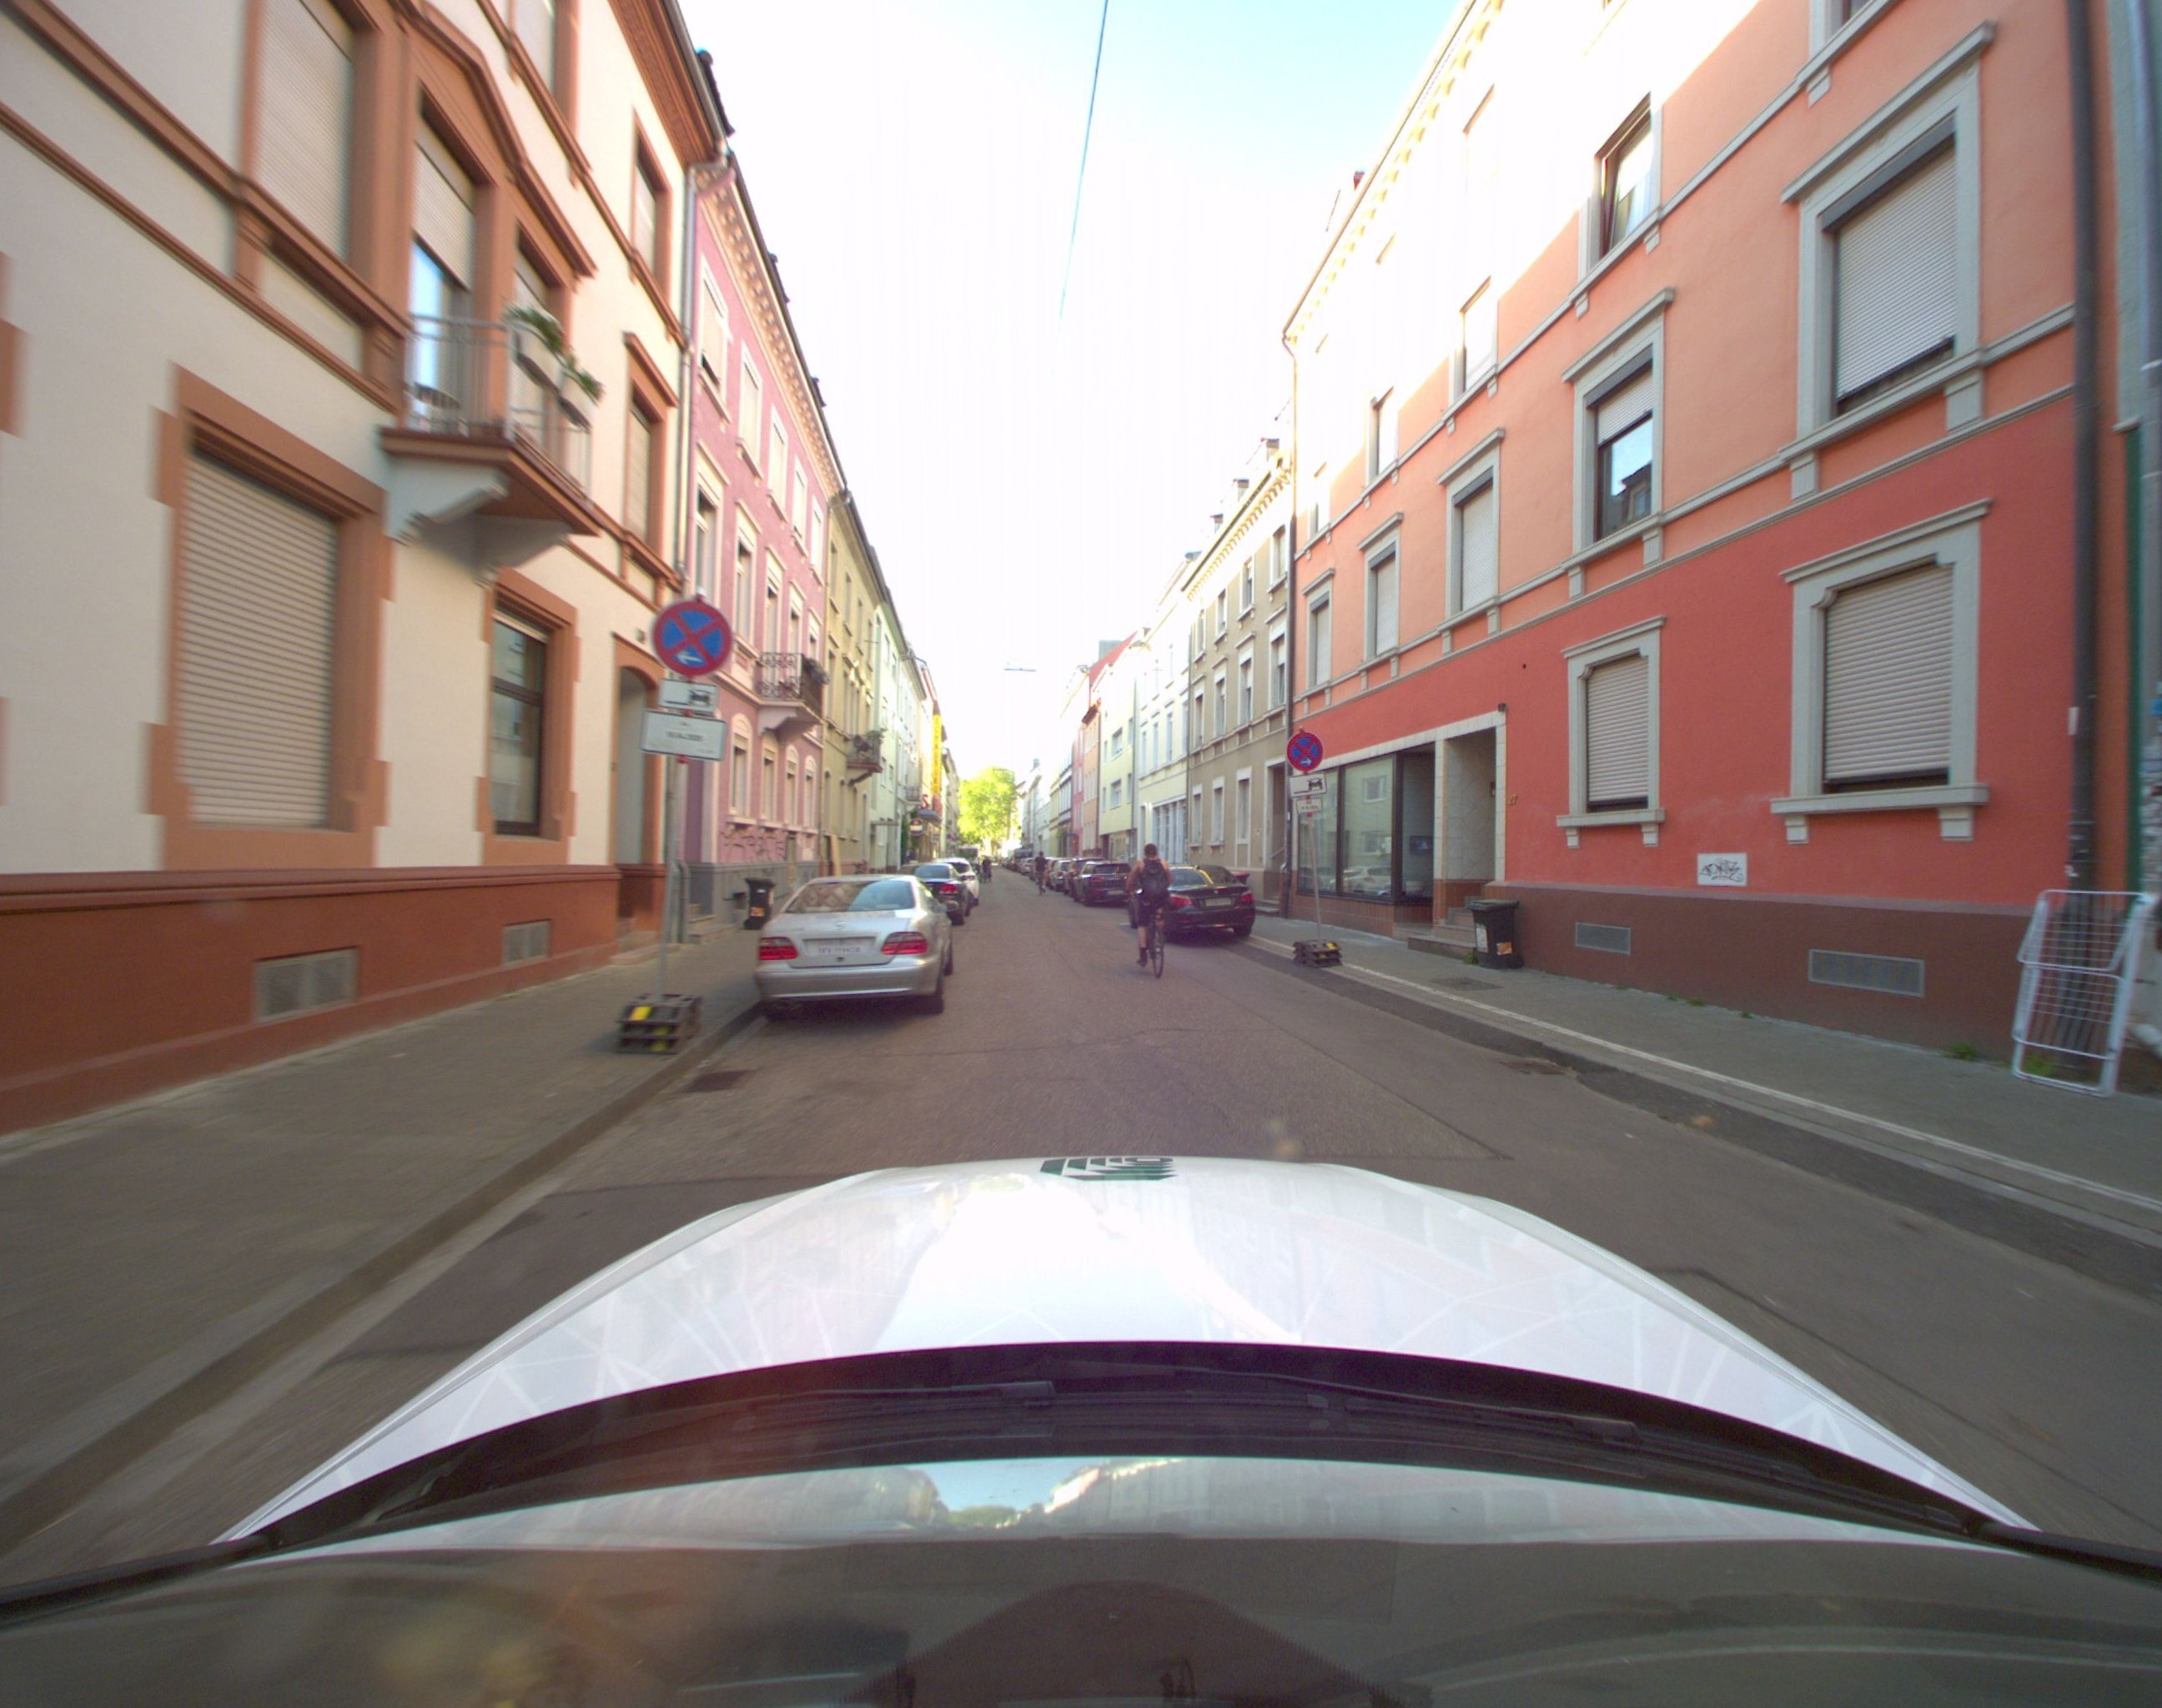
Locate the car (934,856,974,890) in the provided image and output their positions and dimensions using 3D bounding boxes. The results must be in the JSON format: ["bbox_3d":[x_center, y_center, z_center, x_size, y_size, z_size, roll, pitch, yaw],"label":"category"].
[{"bbox_3d":[-5.822,0.863,37.609,1.670,1.442,3.744,-1,-1,-7],"label":"car"}]

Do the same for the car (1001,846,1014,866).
[{"bbox_3d":[-14.223,0.353,157.548,2.306,3.768,6.752,-1,-1,-7],"label":"car"}]

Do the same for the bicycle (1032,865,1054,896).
[{"bbox_3d":[-1.581,1.055,33.352,0.701,1.208,2.336,1,-1,-7],"label":"bicycle"}]

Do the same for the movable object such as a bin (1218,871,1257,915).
[{"bbox_3d":[4.041,0.992,21.085,0.737,1.075,0.674,-2,-1,-14],"label":"movable object such as a bin"}]

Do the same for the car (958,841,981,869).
[{"bbox_3d":[-10.093,0.077,73.495,1.909,2.497,4.152,0,0,-9],"label":"car"}]

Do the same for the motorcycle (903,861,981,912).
[{"bbox_3d":[-4.040,0.930,23.700,2.157,1.359,0.536,-2,1,-26],"label":"motorcycle"}]

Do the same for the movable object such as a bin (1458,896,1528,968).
[{"bbox_3d":[5.621,1.051,11.126,0.597,0.906,0.577,-2,-1,-9],"label":"movable object such as a bin"}]

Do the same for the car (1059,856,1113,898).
[{"bbox_3d":[0.140,0.905,33.438,1.709,1.556,3.990,-1,-1,-7],"label":"car"}]

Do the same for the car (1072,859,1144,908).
[{"bbox_3d":[0.831,0.947,27.655,1.815,1.521,3.990,-1,-1,-7],"label":"car"}]

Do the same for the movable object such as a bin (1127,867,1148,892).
[{"bbox_3d":[2.528,1.134,36.387,0.805,1.075,0.677,-2,-1,-3],"label":"movable object such as a bin"}]

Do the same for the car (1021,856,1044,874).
[{"bbox_3d":[-4.218,0.962,69.833,1.709,1.447,3.990,-1,0,-7],"label":"car"}]

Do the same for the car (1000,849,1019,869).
[{"bbox_3d":[-9.778,0.658,110.451,2.306,2.538,6.752,-1,-1,-7],"label":"car"}]

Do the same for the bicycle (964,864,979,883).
[{"bbox_3d":[-6.522,1.135,48.391,0.699,1.105,2.266,2,-1,-11],"label":"bicycle"}]

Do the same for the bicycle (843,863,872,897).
[{"bbox_3d":[-7.438,0.843,27.161,0.592,1.089,2.074,2,-1,-7],"label":"bicycle"}]

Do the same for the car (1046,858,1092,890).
[{"bbox_3d":[-0.621,0.927,38.488,1.709,1.383,3.990,-1,0,-7],"label":"car"}]

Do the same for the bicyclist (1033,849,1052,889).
[{"bbox_3d":[-1.574,0.607,33.278,0.701,1.605,0.810,1,-1,-8],"label":"bicyclist"}]

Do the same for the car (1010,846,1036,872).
[{"bbox_3d":[-6.106,0.518,85.333,2.306,2.538,6.752,-1,-1,-7],"label":"car"}]

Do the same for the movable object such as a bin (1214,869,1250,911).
[{"bbox_3d":[4.123,0.976,22.218,0.805,1.075,0.677,-2,-1,-3],"label":"movable object such as a bin"}]

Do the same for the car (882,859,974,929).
[{"bbox_3d":[-3.510,0.863,19.375,1.708,1.383,4.348,1,1,-5],"label":"car"}]

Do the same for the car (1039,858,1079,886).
[{"bbox_3d":[-1.211,0.941,43.377,1.709,1.383,3.990,-1,0,-7],"label":"car"}]

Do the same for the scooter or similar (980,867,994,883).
[{"bbox_3d":[-5.475,1.239,47.558,0.770,0.873,0.769,2,-1,-7],"label":"scooter or similar"}]

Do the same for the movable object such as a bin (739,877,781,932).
[{"bbox_3d":[-5.748,0.898,14.604,0.543,0.945,0.486,2,-1,-7],"label":"movable object such as a bin"}]

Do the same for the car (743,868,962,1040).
[{"bbox_3d":[-2.288,0.887,9.263,1.709,1.383,4.494,-1,0,-7],"label":"car"}]

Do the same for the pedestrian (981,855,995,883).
[{"bbox_3d":[-5.500,0.893,47.996,0.770,1.578,0.898,2,-1,-7],"label":"pedestrian"}]

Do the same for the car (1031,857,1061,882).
[{"bbox_3d":[-2.329,1.010,53.144,1.619,1.550,3.990,-1,-1,-7],"label":"car"}]

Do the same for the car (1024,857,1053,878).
[{"bbox_3d":[-3.060,0.929,58.144,1.709,1.393,3.990,-1,0,-7],"label":"car"}]

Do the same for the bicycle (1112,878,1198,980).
[{"bbox_3d":[0.980,0.982,11.451,0.701,1.208,2.336,2,0,-7],"label":"bicycle"}]

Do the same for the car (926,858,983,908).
[{"bbox_3d":[-4.042,0.895,26.468,1.670,1.442,4.154,-1,0,-7],"label":"car"}]

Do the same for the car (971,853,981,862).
[{"bbox_3d":[-18.189,0.583,141.011,1.670,1.442,4.154,-1,0,-7],"label":"car"}]

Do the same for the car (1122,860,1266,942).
[{"bbox_3d":[2.179,0.882,17.191,1.815,1.438,4.778,-1,0,-7],"label":"car"}]

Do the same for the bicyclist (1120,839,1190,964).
[{"bbox_3d":[1.003,0.635,11.308,0.701,1.633,1.087,2,0,-7],"label":"bicyclist"}]

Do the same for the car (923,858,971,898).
[{"bbox_3d":[-5.212,0.919,32.042,1.670,1.442,3.758,-1,-1,-7],"label":"car"}]
